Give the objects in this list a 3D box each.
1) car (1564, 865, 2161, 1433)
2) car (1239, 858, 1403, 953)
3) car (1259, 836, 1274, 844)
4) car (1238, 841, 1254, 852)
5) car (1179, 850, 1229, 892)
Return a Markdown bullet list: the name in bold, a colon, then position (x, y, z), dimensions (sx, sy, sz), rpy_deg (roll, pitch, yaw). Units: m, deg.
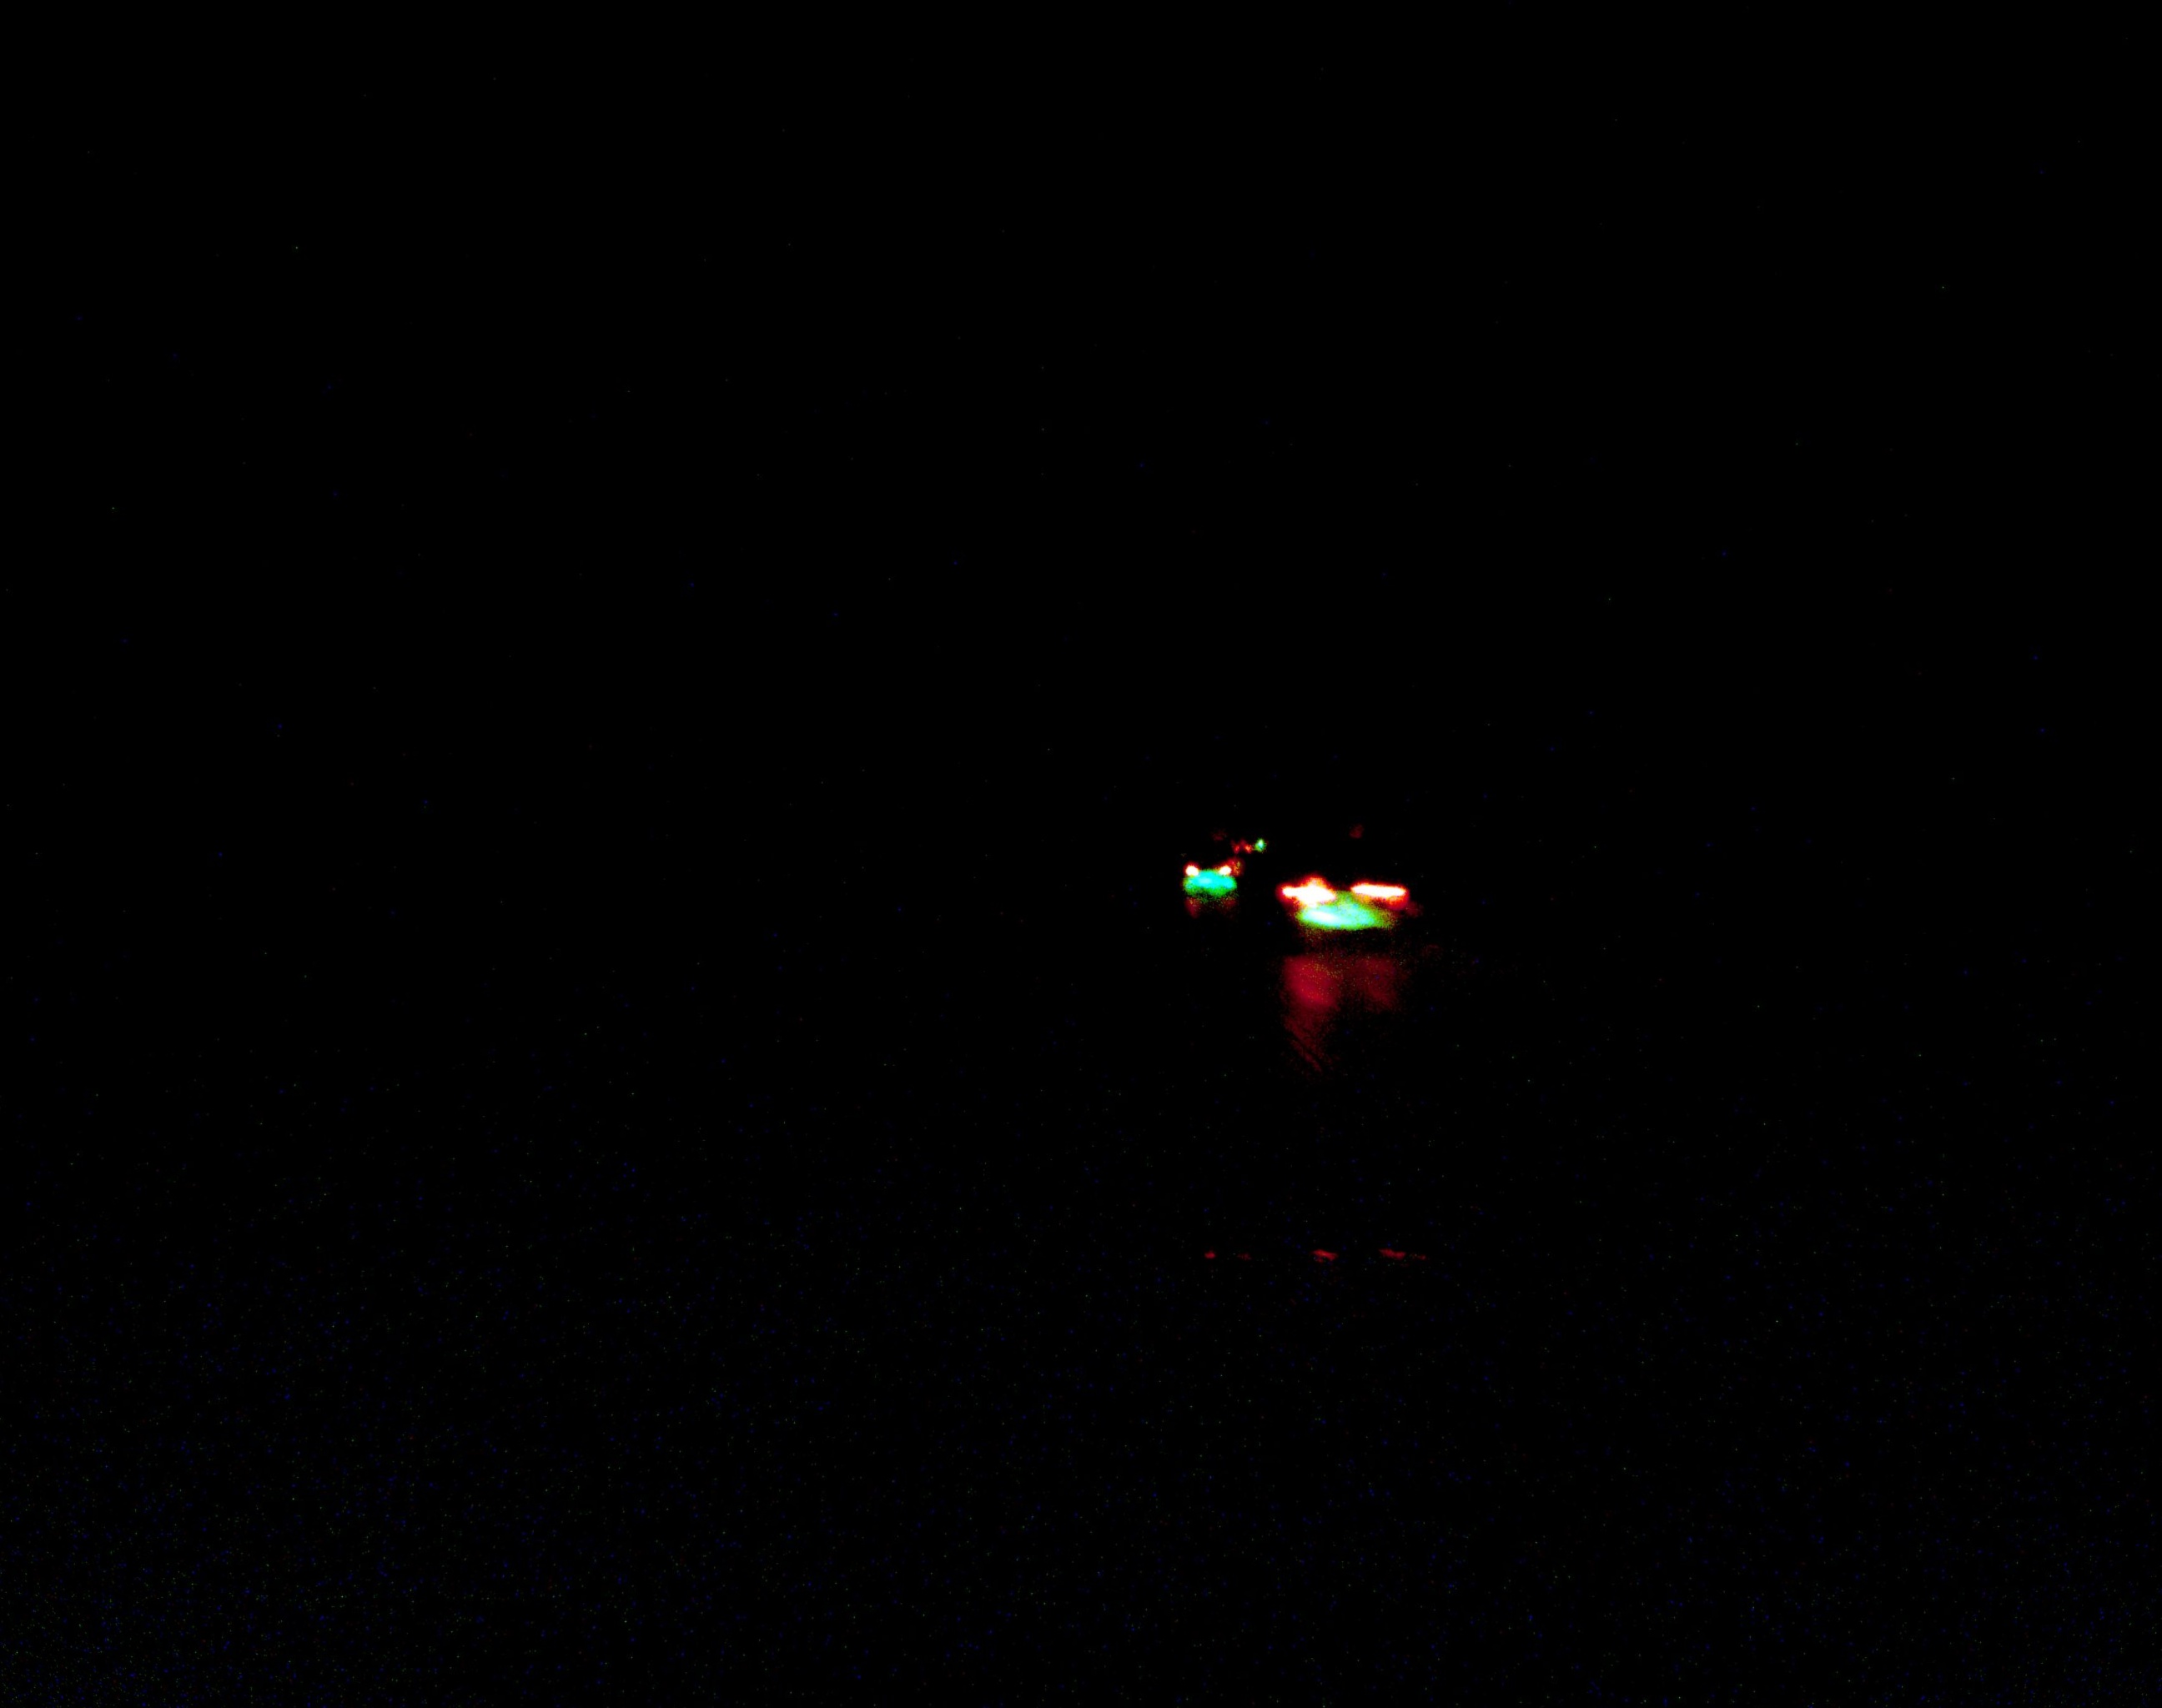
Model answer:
- **car**: position (3.711, 0.805, 2.230), dimensions (1.776, 1.381, 4.231), rpy_deg (-2, 1, -2)
- **car**: position (4.222, 0.823, 14.069), dimensions (1.775, 1.381, 4.112), rpy_deg (-2, 1, 1)
- **car**: position (36.107, -2.724, 147.880), dimensions (1.932, 1.575, 4.992), rpy_deg (1, 2, 25)
- **car**: position (25.882, -1.189, 119.268), dimensions (1.996, 1.699, 4.990), rpy_deg (0, 1, 18)
- **car**: position (4.879, 0.609, 30.541), dimensions (1.775, 1.475, 4.383), rpy_deg (-2, 1, 7)
